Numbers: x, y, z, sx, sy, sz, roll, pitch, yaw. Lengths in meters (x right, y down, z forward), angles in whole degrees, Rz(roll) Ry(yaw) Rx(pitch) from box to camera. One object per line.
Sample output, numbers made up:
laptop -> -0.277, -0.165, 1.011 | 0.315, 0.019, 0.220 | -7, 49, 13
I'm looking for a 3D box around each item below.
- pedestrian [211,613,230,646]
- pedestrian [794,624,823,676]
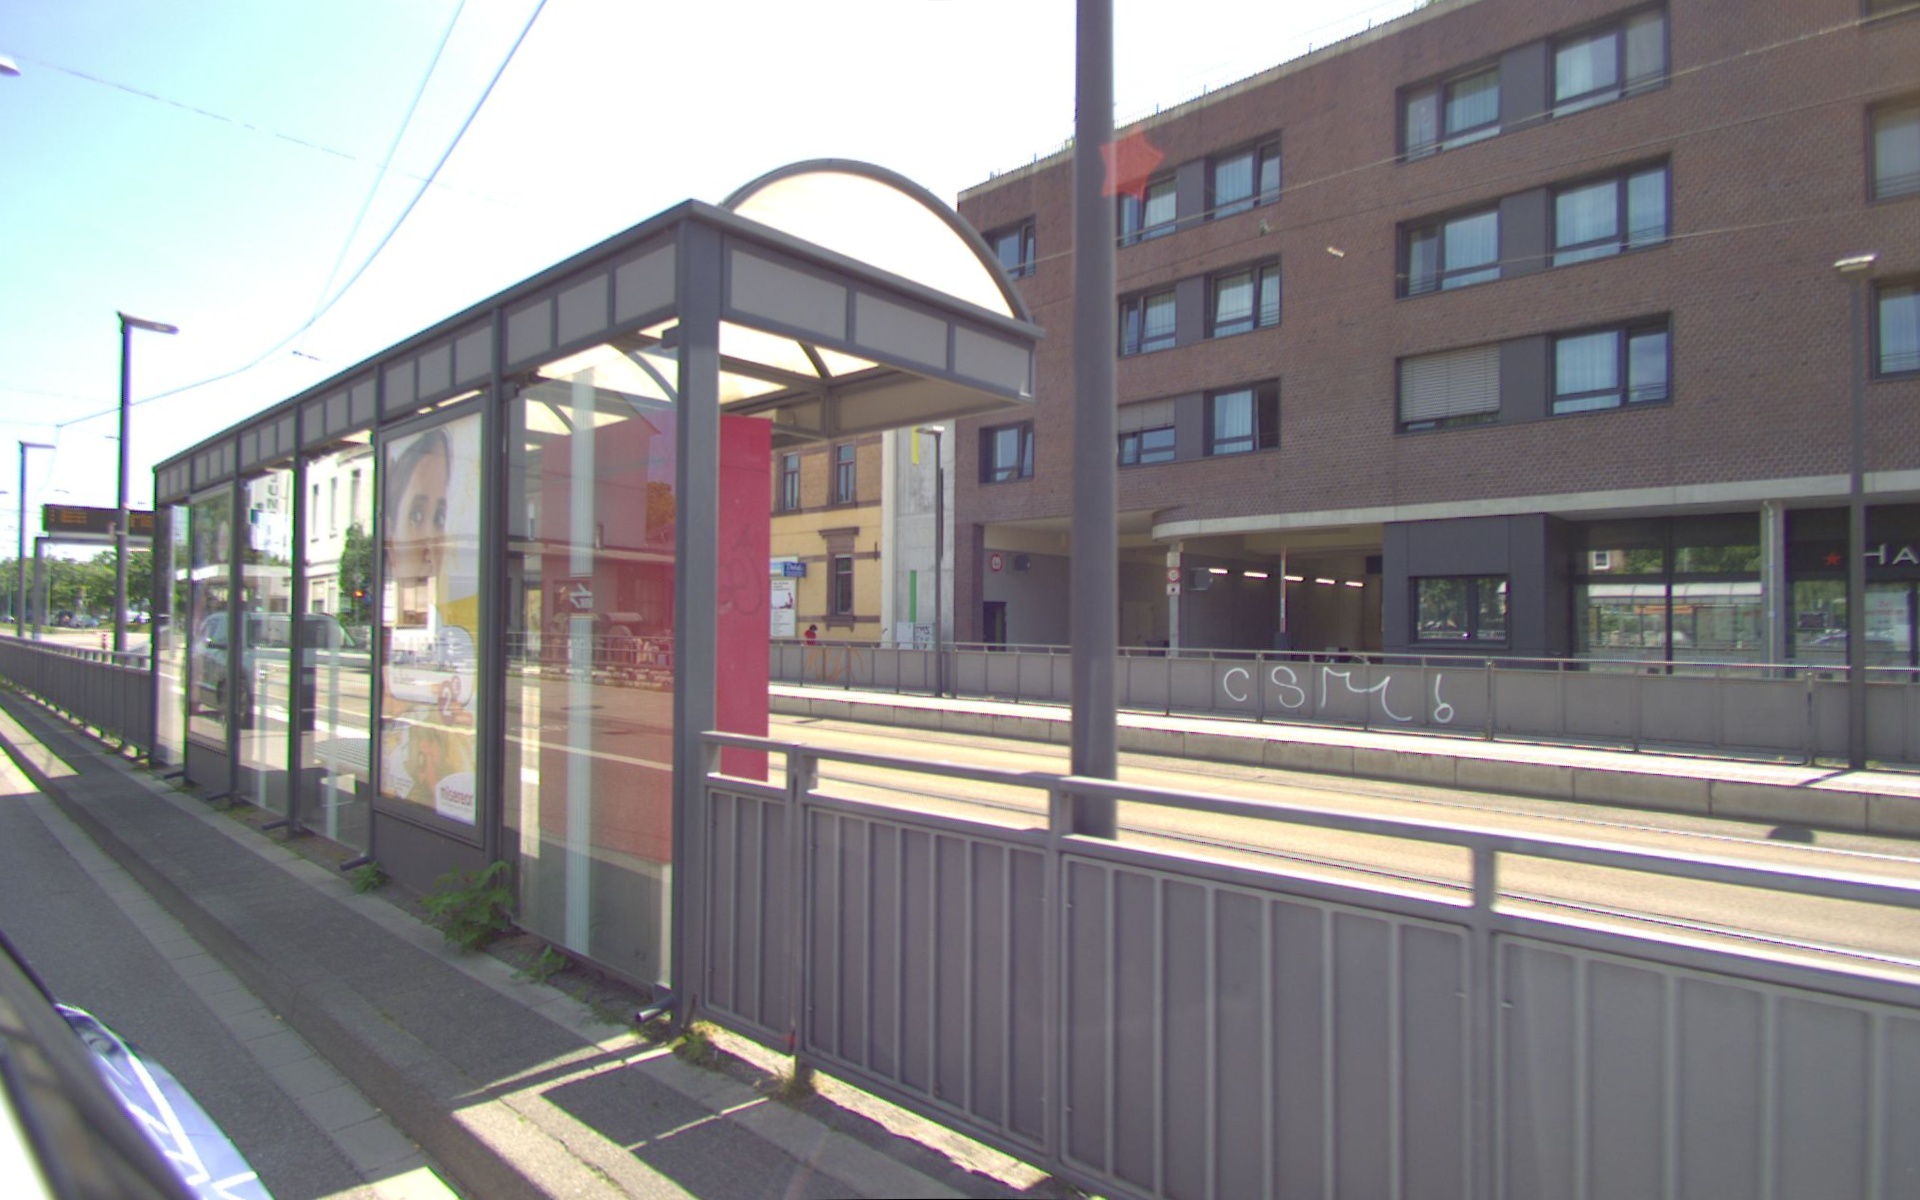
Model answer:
pedestrian -> -36.567, 1.453, 50.034 | 0.676, 1.637, 0.589 | -1, -3, 43
pedestrian -> -4.767, 1.561, 31.873 | 0.715, 1.608, 0.597 | -1, -2, 41
